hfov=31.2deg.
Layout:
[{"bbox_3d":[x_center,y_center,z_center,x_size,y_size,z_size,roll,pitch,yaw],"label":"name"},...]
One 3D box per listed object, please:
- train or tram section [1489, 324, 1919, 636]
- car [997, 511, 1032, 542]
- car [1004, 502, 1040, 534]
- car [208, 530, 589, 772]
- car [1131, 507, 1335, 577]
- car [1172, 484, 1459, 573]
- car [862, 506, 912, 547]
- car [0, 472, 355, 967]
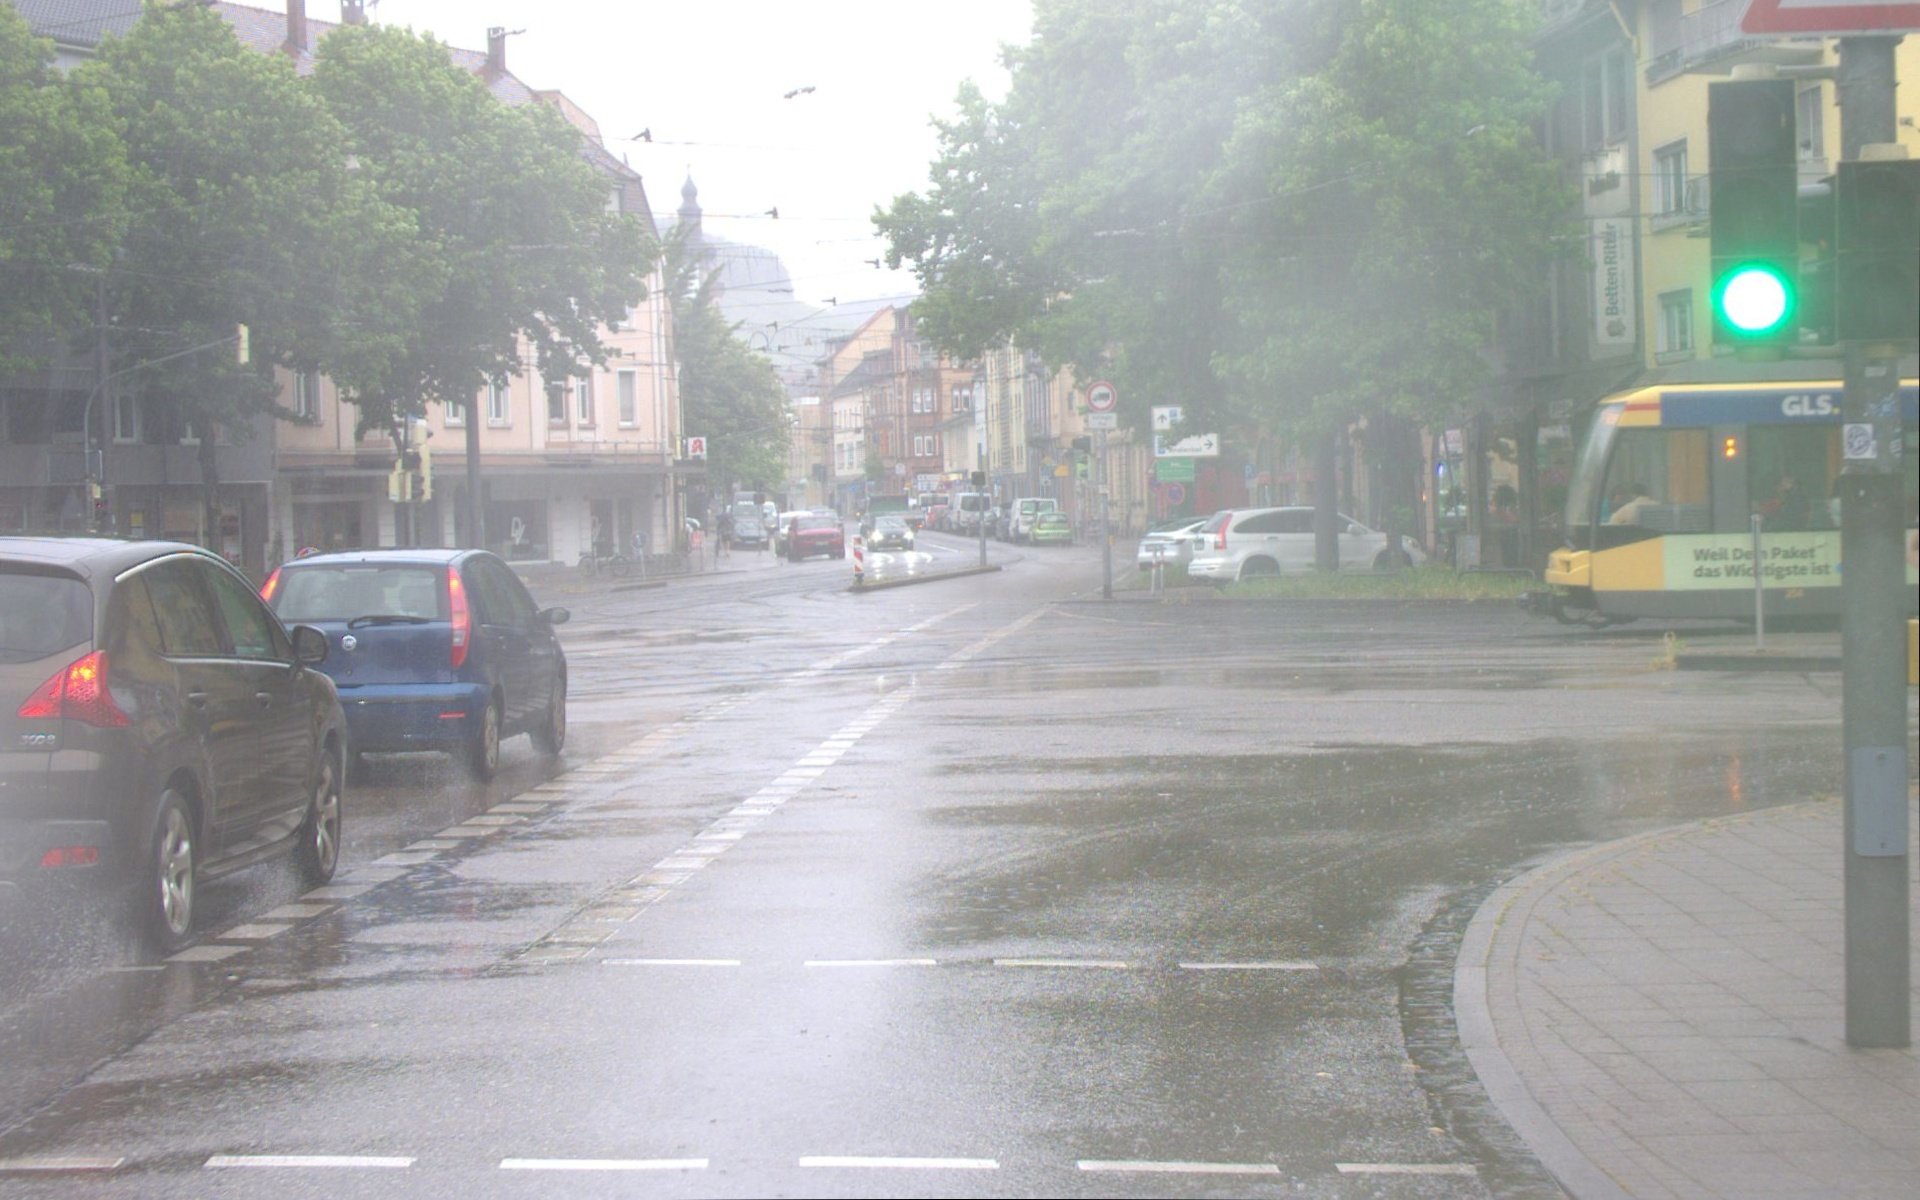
[{"bbox_3d":[13.955,-1.561,41.667,14.529,3.546,3.116,-1,2,0],"label":"train or tram section"},{"bbox_3d":[2.487,-3.373,157.975,1.475,1.358,3.462,0,0,-1],"label":"car"},{"bbox_3d":[2.717,-3.624,151.631,1.475,1.358,3.462,0,0,-1],"label":"car"},{"bbox_3d":[-3.606,0.346,22.720,1.882,1.454,3.831,0,-1,0],"label":"car"},{"bbox_3d":[6.726,-1.433,84.647,4.585,1.551,1.998,-1,2,22],"label":"car"},{"bbox_3d":[6.661,-1.353,64.697,4.972,1.469,2.001,-2,2,-9],"label":"car"},{"bbox_3d":[-3.097,-3.083,144.924,1.993,1.683,4.000,0,0,-2],"label":"car"},{"bbox_3d":[-3.746,0.341,13.928,1.801,1.703,4.191,0,2,1],"label":"car"}]
